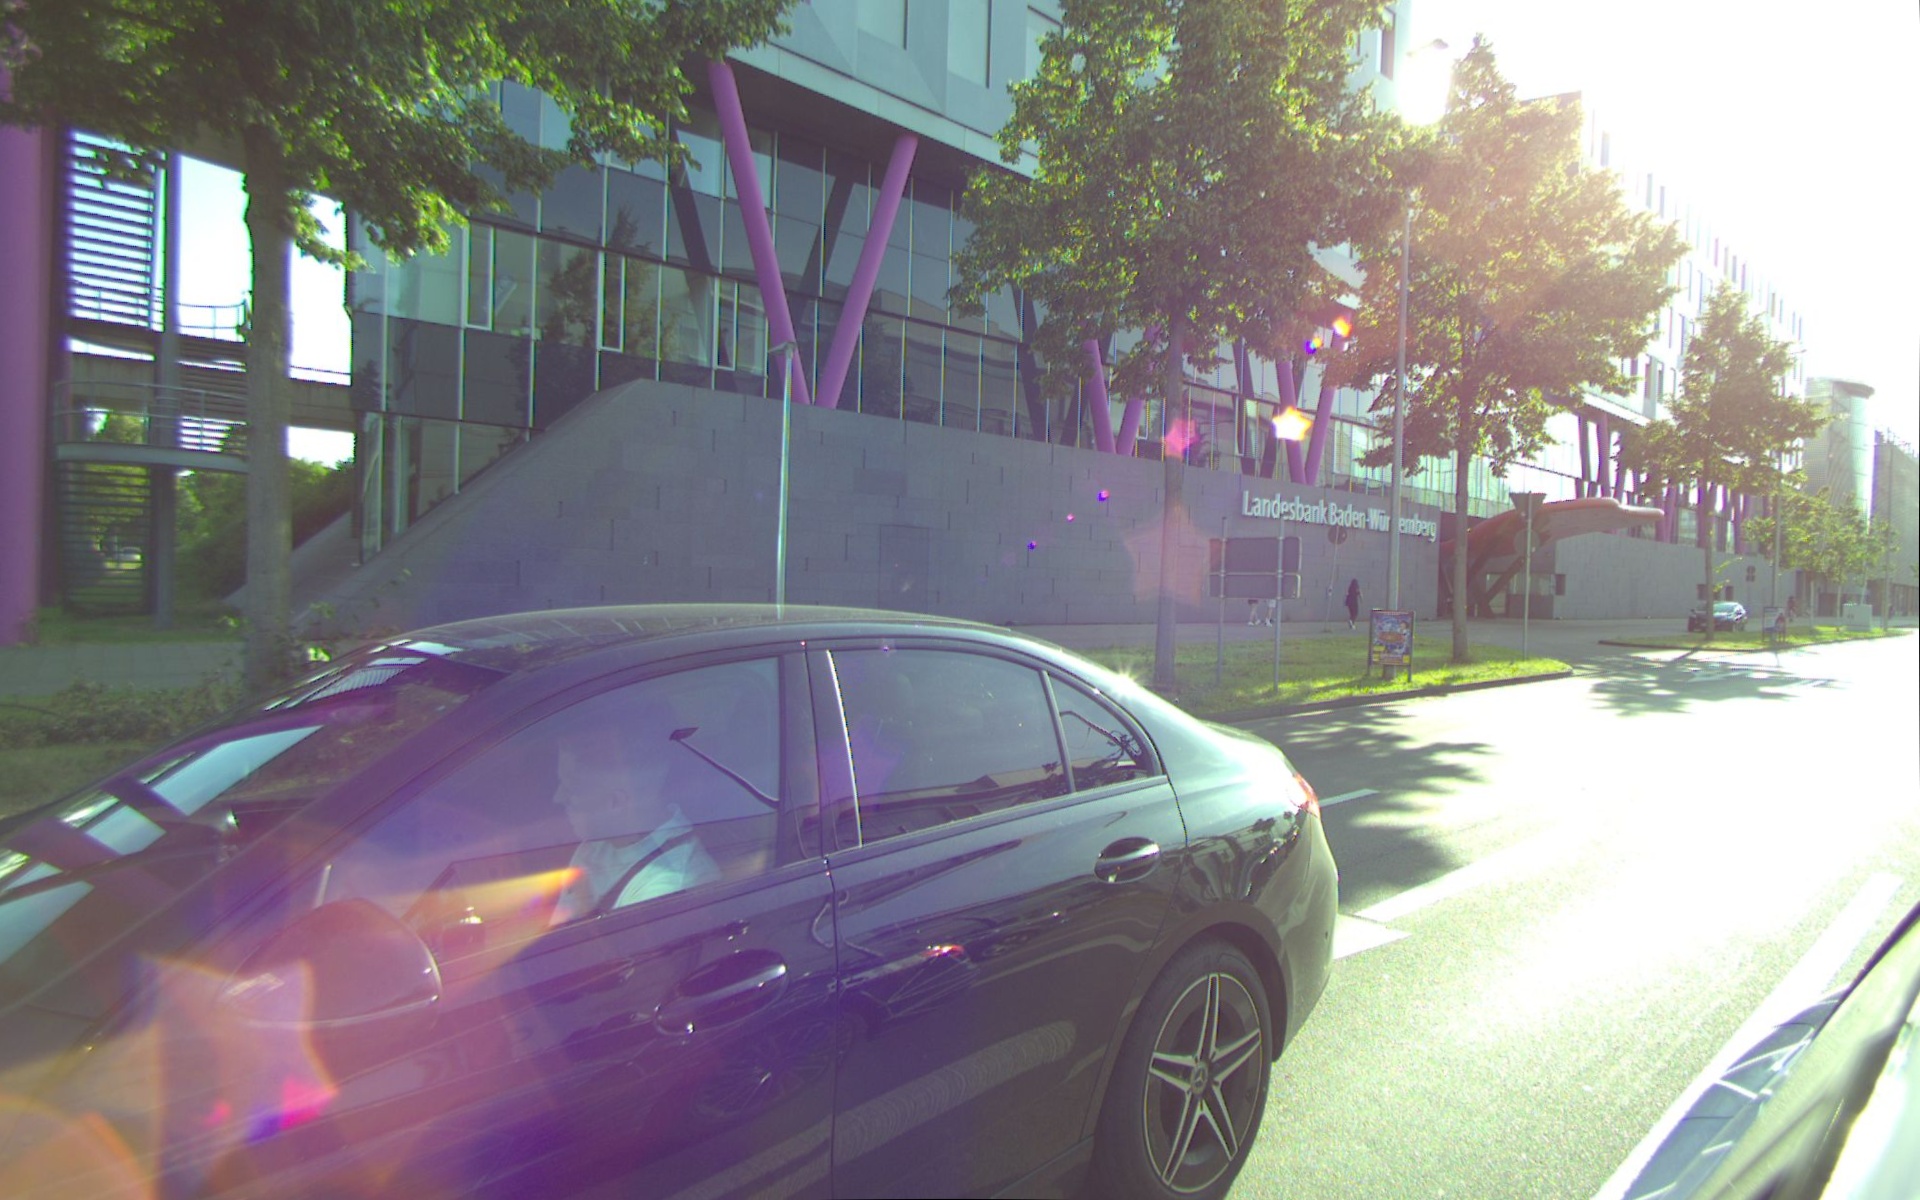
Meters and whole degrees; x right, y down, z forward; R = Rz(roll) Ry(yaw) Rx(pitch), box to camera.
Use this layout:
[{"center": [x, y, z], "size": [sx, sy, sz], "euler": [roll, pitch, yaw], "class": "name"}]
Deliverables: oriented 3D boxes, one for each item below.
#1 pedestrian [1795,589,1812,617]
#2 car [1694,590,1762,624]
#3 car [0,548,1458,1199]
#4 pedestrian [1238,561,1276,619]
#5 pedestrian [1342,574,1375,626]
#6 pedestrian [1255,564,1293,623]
[{"center": [57.026, 0.196, 68.424], "size": [0.758, 1.808, 0.725], "euler": [0, 1, -41], "class": "pedestrian"}, {"center": [34.838, 0.325, 45.892], "size": [4.126, 1.407, 1.694], "euler": [1, 1, -42], "class": "car"}, {"center": [-0.898, 0.678, 2.203], "size": [4.473, 1.468, 1.843], "euler": [1, 0, -39], "class": "car"}, {"center": [9.664, -0.332, 32.922], "size": [0.838, 1.847, 0.769], "euler": [1, 3, -41], "class": "pedestrian"}, {"center": [12.968, -0.011, 32.932], "size": [0.724, 1.659, 0.695], "euler": [0, 2, -41], "class": "pedestrian"}, {"center": [10.011, -0.214, 32.288], "size": [0.829, 1.815, 0.756], "euler": [1, 3, -41], "class": "pedestrian"}]
